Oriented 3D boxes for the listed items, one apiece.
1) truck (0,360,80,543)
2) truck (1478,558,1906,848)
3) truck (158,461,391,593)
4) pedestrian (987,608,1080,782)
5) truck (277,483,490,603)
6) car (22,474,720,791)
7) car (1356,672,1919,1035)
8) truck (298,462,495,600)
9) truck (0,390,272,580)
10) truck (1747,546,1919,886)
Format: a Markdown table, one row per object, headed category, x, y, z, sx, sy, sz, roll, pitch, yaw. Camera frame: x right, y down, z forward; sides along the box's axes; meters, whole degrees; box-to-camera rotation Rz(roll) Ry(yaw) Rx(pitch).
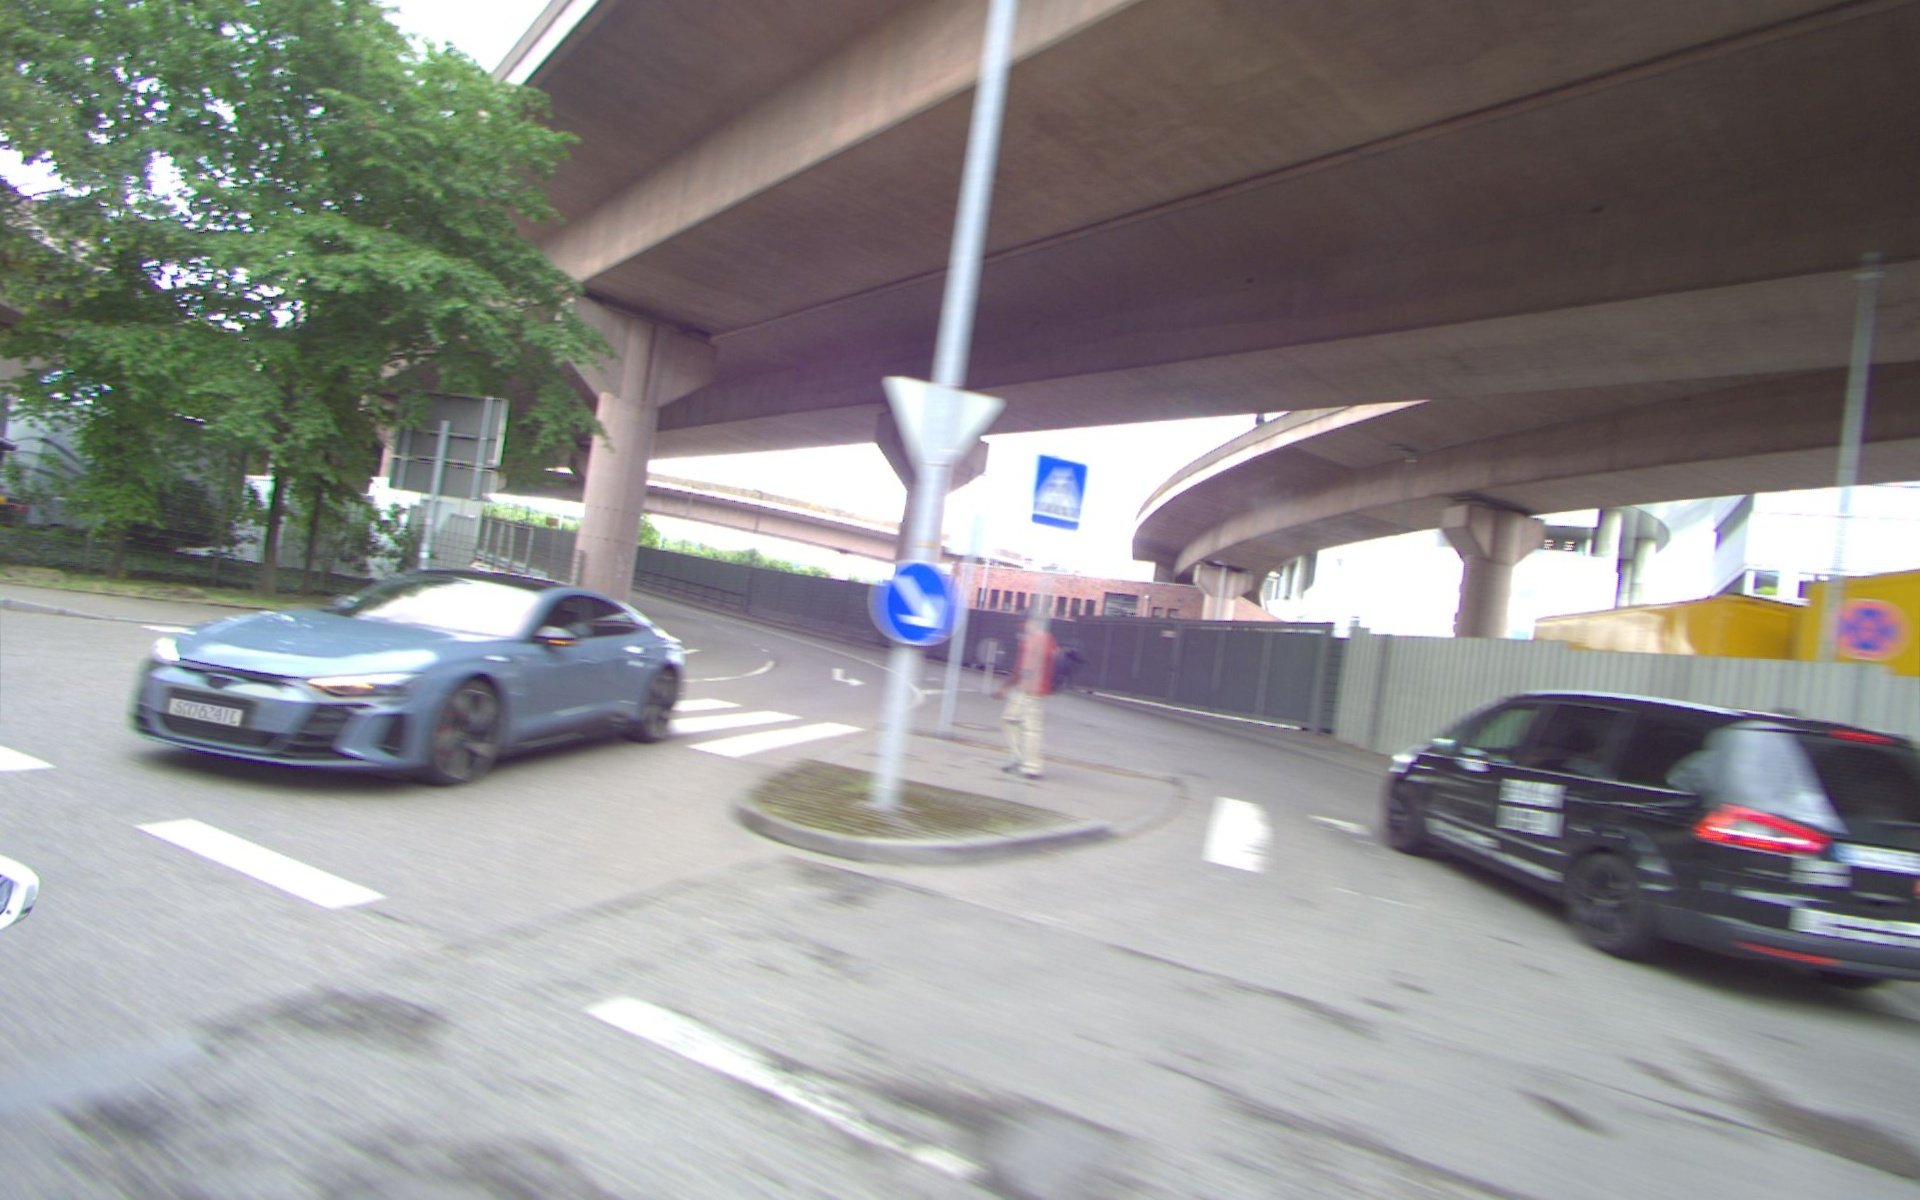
| category | x | y | z | sx | sy | sz | roll | pitch | yaw |
| --- | --- | --- | --- | --- | --- | --- | --- | --- | --- |
| truck | -25.166 | -3.948 | 24.675 | 6.806 | 4.009 | 3.072 | 8 | -1 | 31 |
| truck | 15.847 | 2.159 | 23.054 | 3.090 | 4.956 | 8.729 | 8 | -3 | 2 |
| truck | -20.778 | -2.236 | 30.451 | 6.444 | 2.933 | 2.923 | 9 | -1 | 29 |
| pedestrian | 0.765 | 0.980 | 10.462 | 0.550 | 1.696 | 0.536 | 8 | 0 | 38 |
| truck | -19.229 | -1.907 | 33.492 | 6.444 | 2.933 | 2.923 | 9 | -1 | 29 |
| car | -3.962 | 0.310 | 8.136 | 2.132 | 1.518 | 4.939 | 8 | -2 | 8 |
| car | 5.126 | 1.609 | 7.803 | 1.964 | 1.698 | 4.562 | 7 | -2 | -3 |
| truck | -22.503 | -2.807 | 40.006 | 7.916 | 4.350 | 3.071 | 9 | 0 | 33 |
| truck | -22.425 | -3.116 | 26.863 | 7.908 | 3.913 | 3.074 | 9 | 0 | 29 |
| truck | 15.557 | 1.782 | 13.323 | 3.090 | 4.971 | 8.729 | 8 | -3 | 2 |
